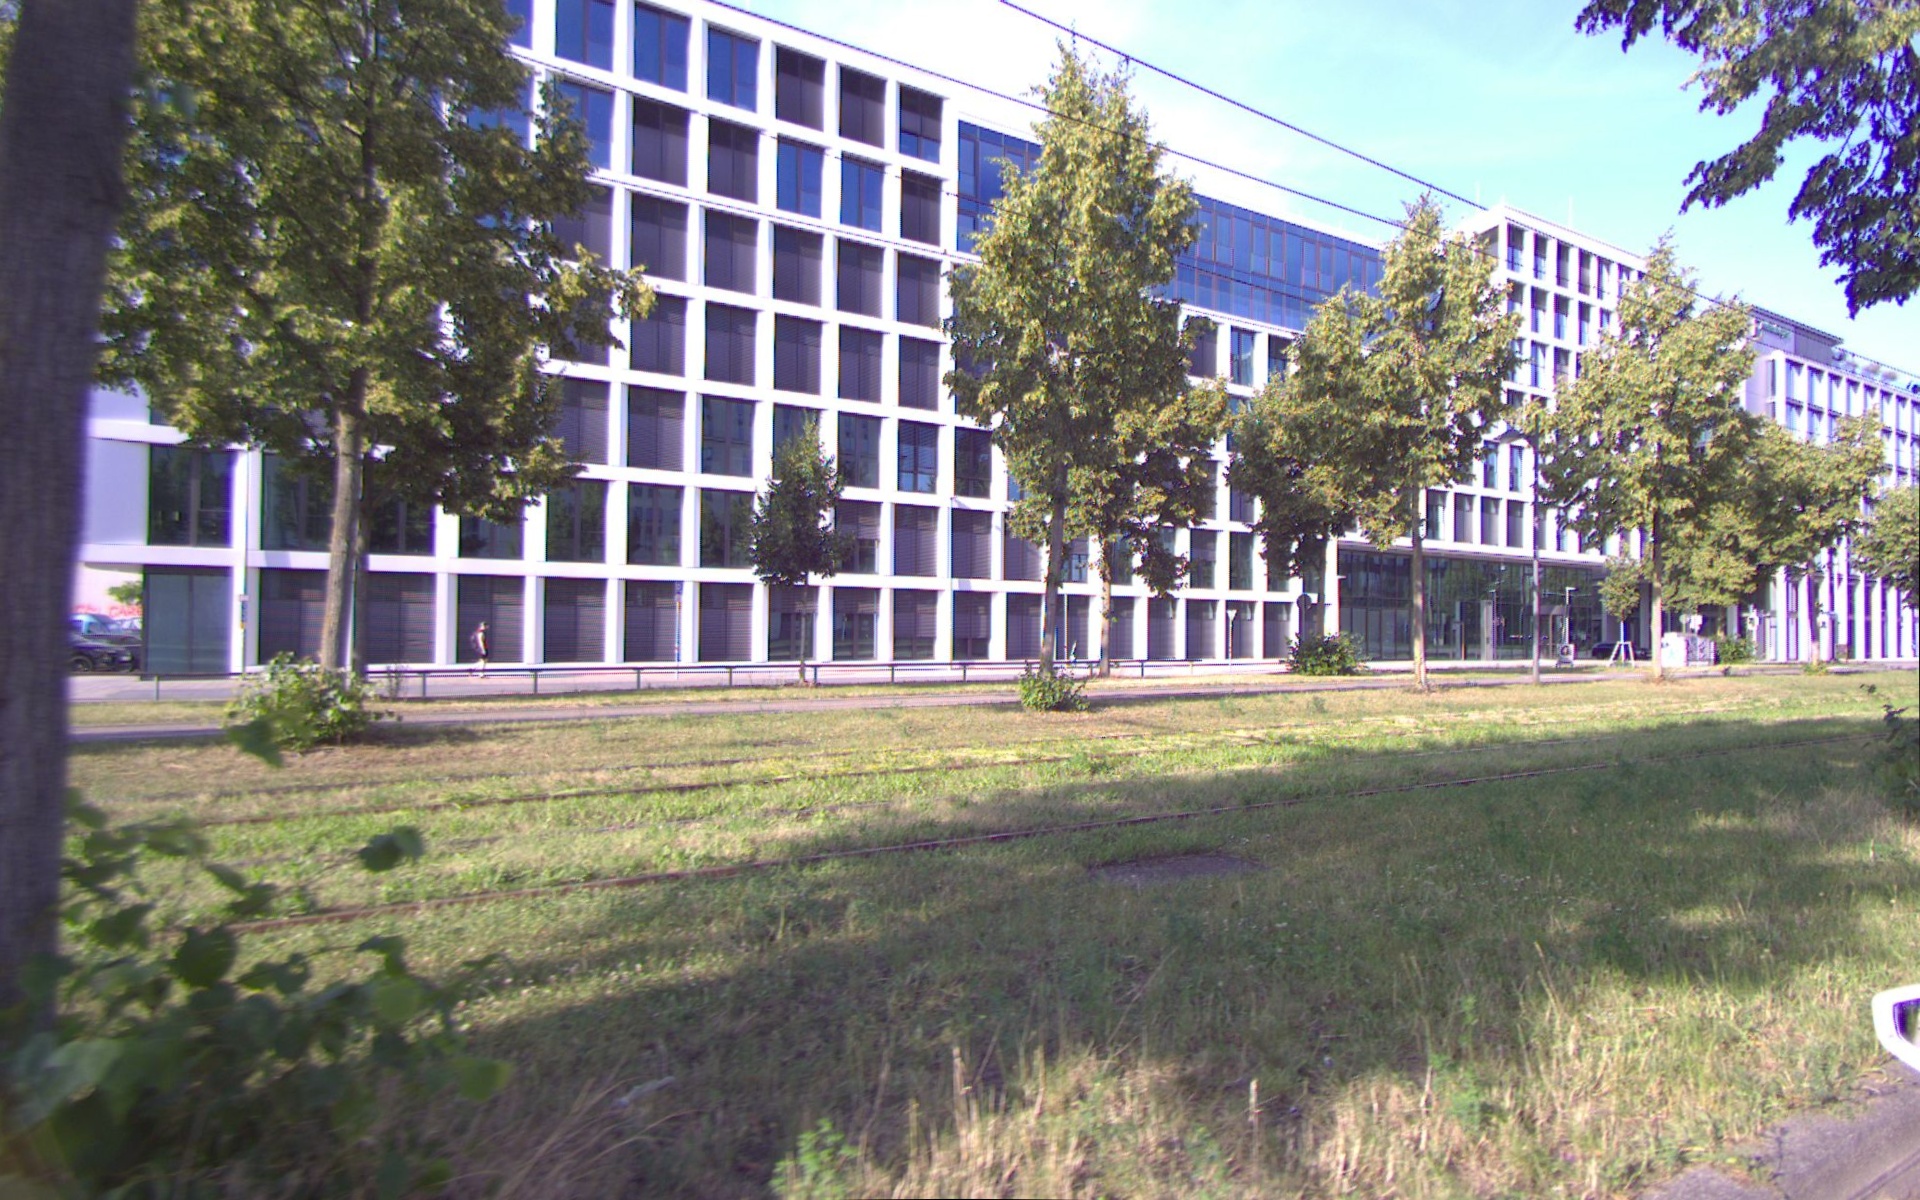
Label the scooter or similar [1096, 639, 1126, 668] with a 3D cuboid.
[{"bbox_3d":[6.821,2.412,45.414,1.278,1.242,0.335,2,0,-17],"label":"scooter or similar"}]

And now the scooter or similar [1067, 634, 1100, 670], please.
[{"bbox_3d":[5.433,2.275,44.286,0.409,1.496,1.922,2,0,-25],"label":"scooter or similar"}]

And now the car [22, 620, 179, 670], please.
[{"bbox_3d":[-31.755,1.668,37.226,3.933,1.694,1.855,2,0,-15],"label":"car"}]

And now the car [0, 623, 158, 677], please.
[{"bbox_3d":[-30.718,1.740,34.916,3.933,1.694,1.855,2,0,-15],"label":"car"}]

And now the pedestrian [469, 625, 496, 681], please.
[{"bbox_3d":[-15.302,1.695,32.195,0.683,1.751,0.565,2,0,-30],"label":"pedestrian"}]
